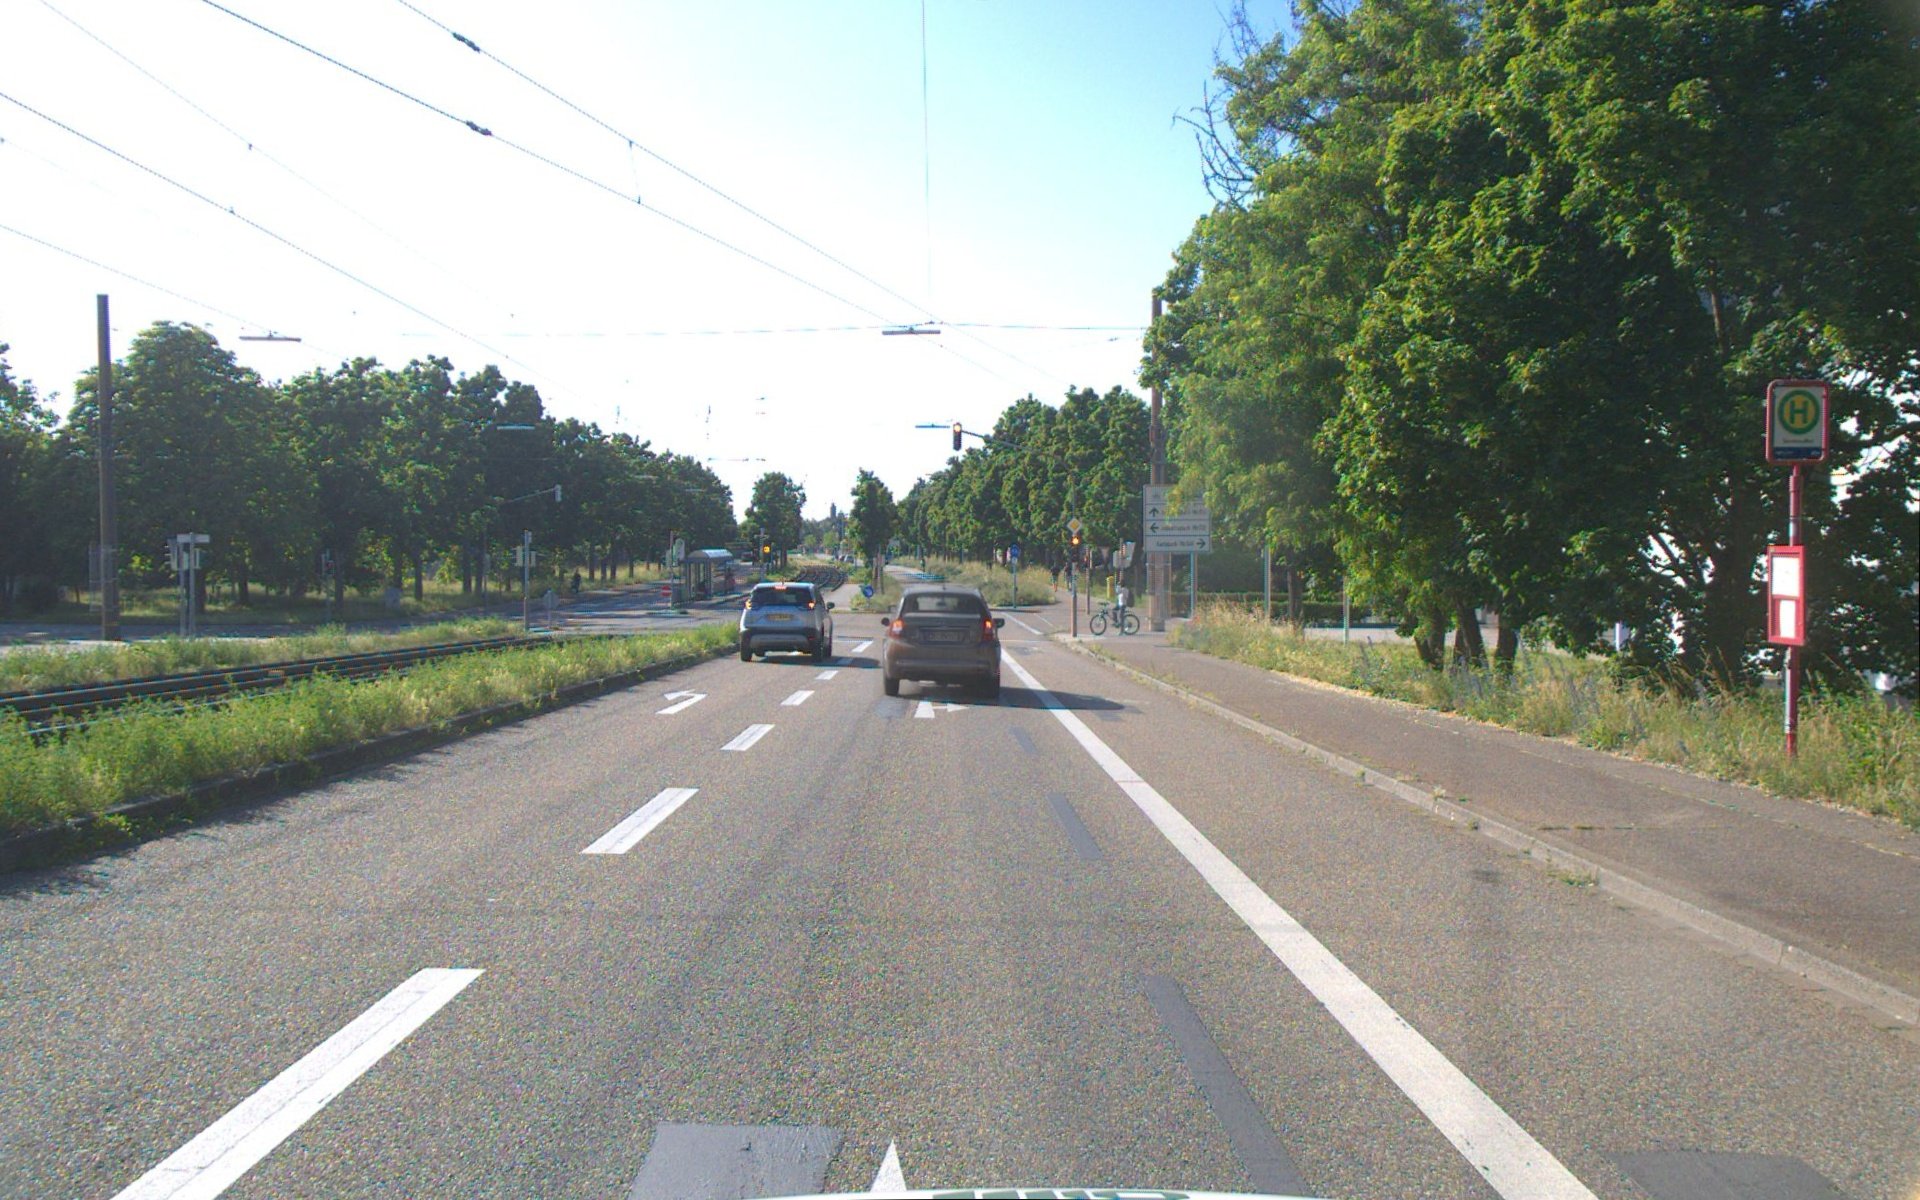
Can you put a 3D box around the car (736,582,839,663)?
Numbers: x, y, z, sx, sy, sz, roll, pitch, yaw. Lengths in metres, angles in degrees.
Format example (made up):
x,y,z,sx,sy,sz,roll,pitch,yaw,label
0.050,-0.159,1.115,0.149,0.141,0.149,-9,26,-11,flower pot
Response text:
x,y,z,sx,sy,sz,roll,pitch,yaw,label
-3.626,0.428,35.342,1.813,1.634,4.254,0,1,-1,car

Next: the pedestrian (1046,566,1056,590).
x,y,z,sx,sy,sz,roll,pitch,yaw,label
6.071,-1.477,110.696,0.556,1.624,0.665,1,0,-4,pedestrian

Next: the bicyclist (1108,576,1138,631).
x,y,z,sx,sy,sz,roll,pitch,yaw,label
5.328,0.120,54.093,0.890,1.775,0.765,-2,0,10,bicyclist

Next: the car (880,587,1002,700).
x,y,z,sx,sy,sz,roll,pitch,yaw,label
-0.261,0.578,24.759,1.672,1.535,4.000,0,1,0,car

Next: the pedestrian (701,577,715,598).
x,y,z,sx,sy,sz,roll,pitch,yaw,label
-15.246,-0.761,100.162,0.706,1.267,0.710,-1,1,-2,pedestrian

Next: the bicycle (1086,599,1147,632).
x,y,z,sx,sy,sz,roll,pitch,yaw,label
5.135,0.503,54.131,1.879,1.015,0.765,-3,0,10,bicycle

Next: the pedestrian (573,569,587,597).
x,y,z,sx,sy,sz,roll,pitch,yaw,label
-27.381,-1.226,119.224,0.823,2.049,0.863,0,1,-2,pedestrian

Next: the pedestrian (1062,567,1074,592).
x,y,z,sx,sy,sz,roll,pitch,yaw,label
7.246,-1.390,110.889,0.664,1.638,0.720,1,0,-3,pedestrian
